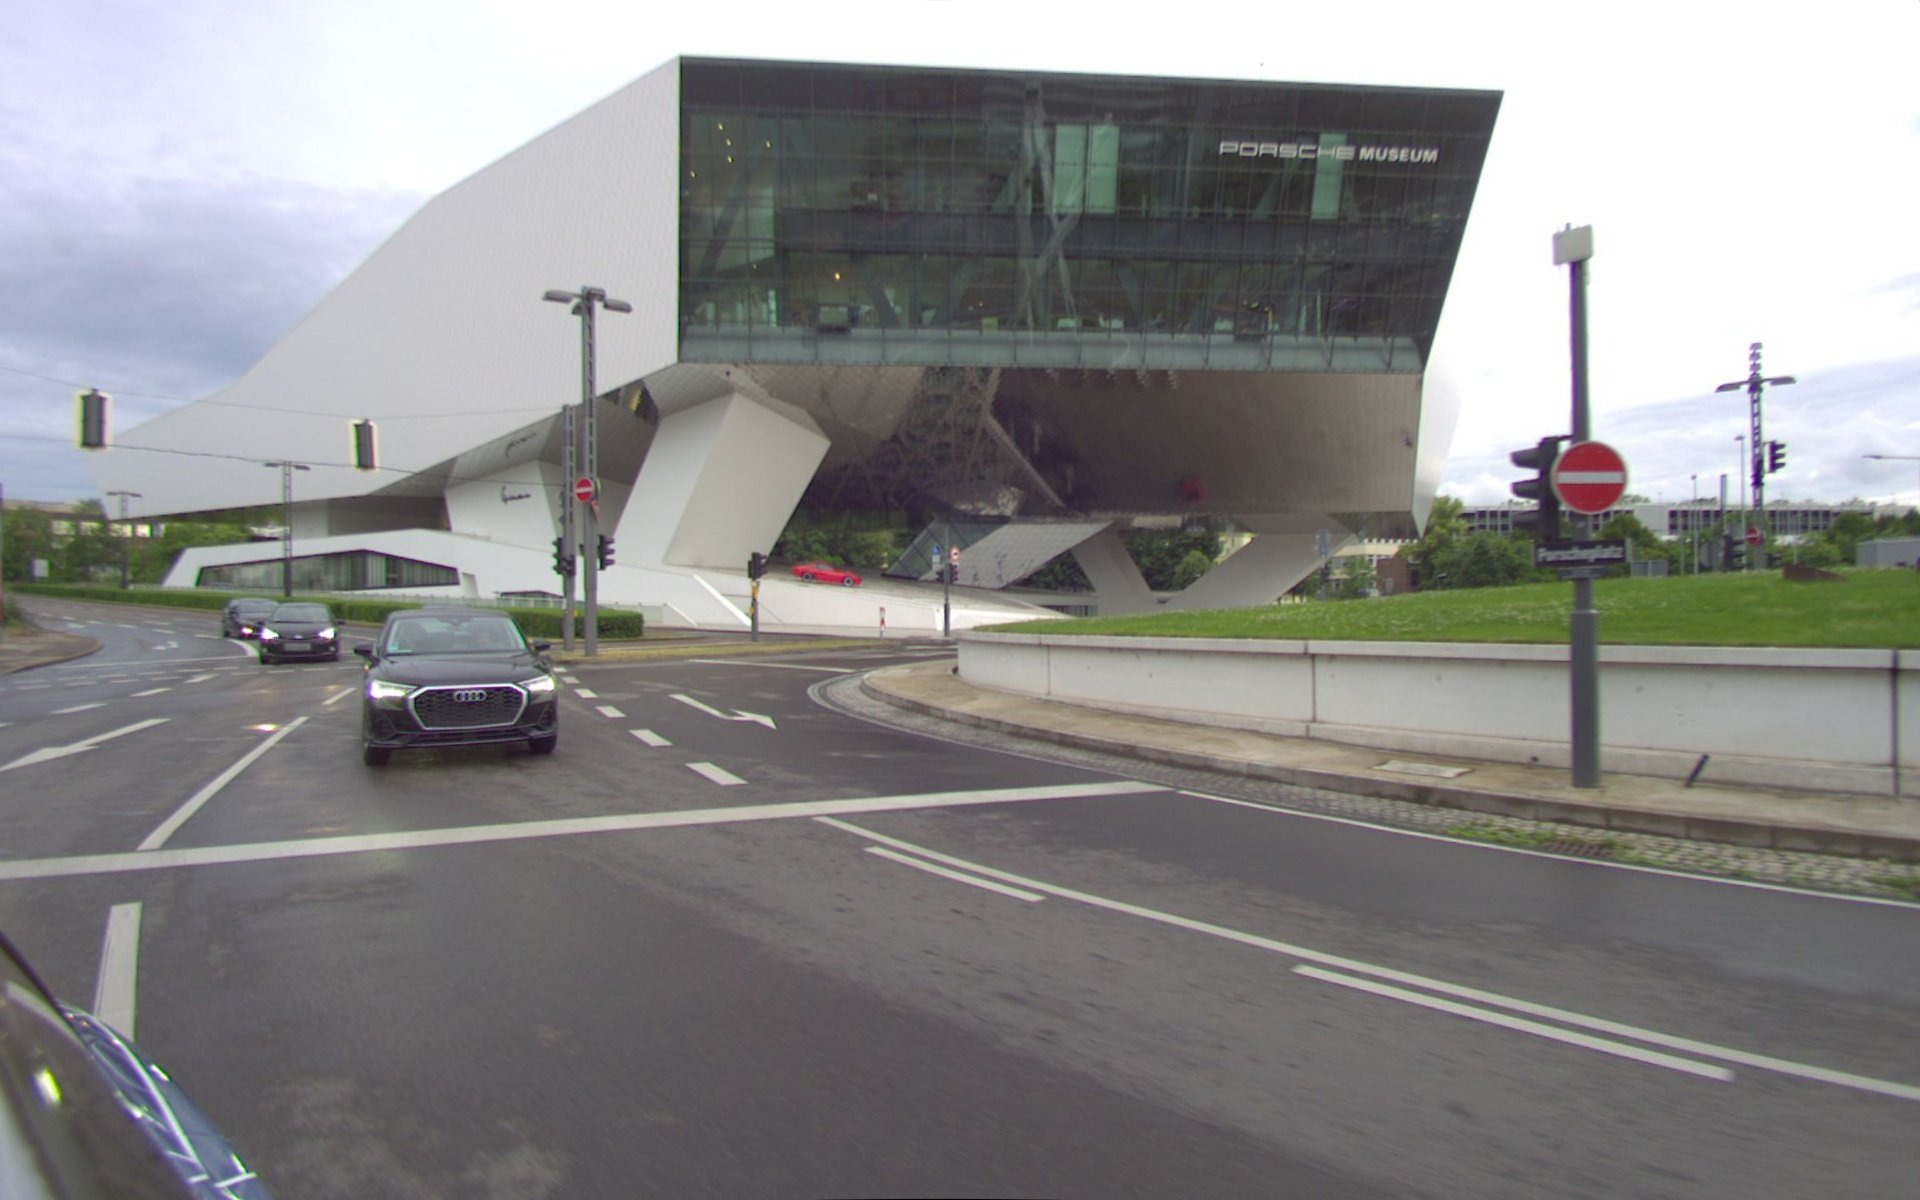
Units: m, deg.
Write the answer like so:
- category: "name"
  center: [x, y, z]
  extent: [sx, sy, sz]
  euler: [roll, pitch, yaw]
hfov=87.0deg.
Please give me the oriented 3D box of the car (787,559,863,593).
- category: "car"
  center: [-7.833, -1.362, 58.765]
  extent: [4.181, 1.394, 2.003]
  euler: [7, -1, -6]

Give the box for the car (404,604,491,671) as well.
- category: "car"
  center: [-13.506, 0.916, 26.548]
  extent: [1.787, 1.449, 4.315]
  euler: [-1, 2, -30]

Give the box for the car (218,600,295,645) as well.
- category: "car"
  center: [-26.190, 0.787, 37.634]
  extent: [1.724, 1.485, 4.072]
  euler: [-2, 2, -44]

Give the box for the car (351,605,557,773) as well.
- category: "car"
  center: [-5.883, 0.871, 11.600]
  extent: [1.728, 1.530, 4.408]
  euler: [2, -2, -30]

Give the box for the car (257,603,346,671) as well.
- category: "car"
  center: [-17.120, 0.903, 26.447]
  extent: [1.666, 1.518, 4.024]
  euler: [-1, 2, -29]
